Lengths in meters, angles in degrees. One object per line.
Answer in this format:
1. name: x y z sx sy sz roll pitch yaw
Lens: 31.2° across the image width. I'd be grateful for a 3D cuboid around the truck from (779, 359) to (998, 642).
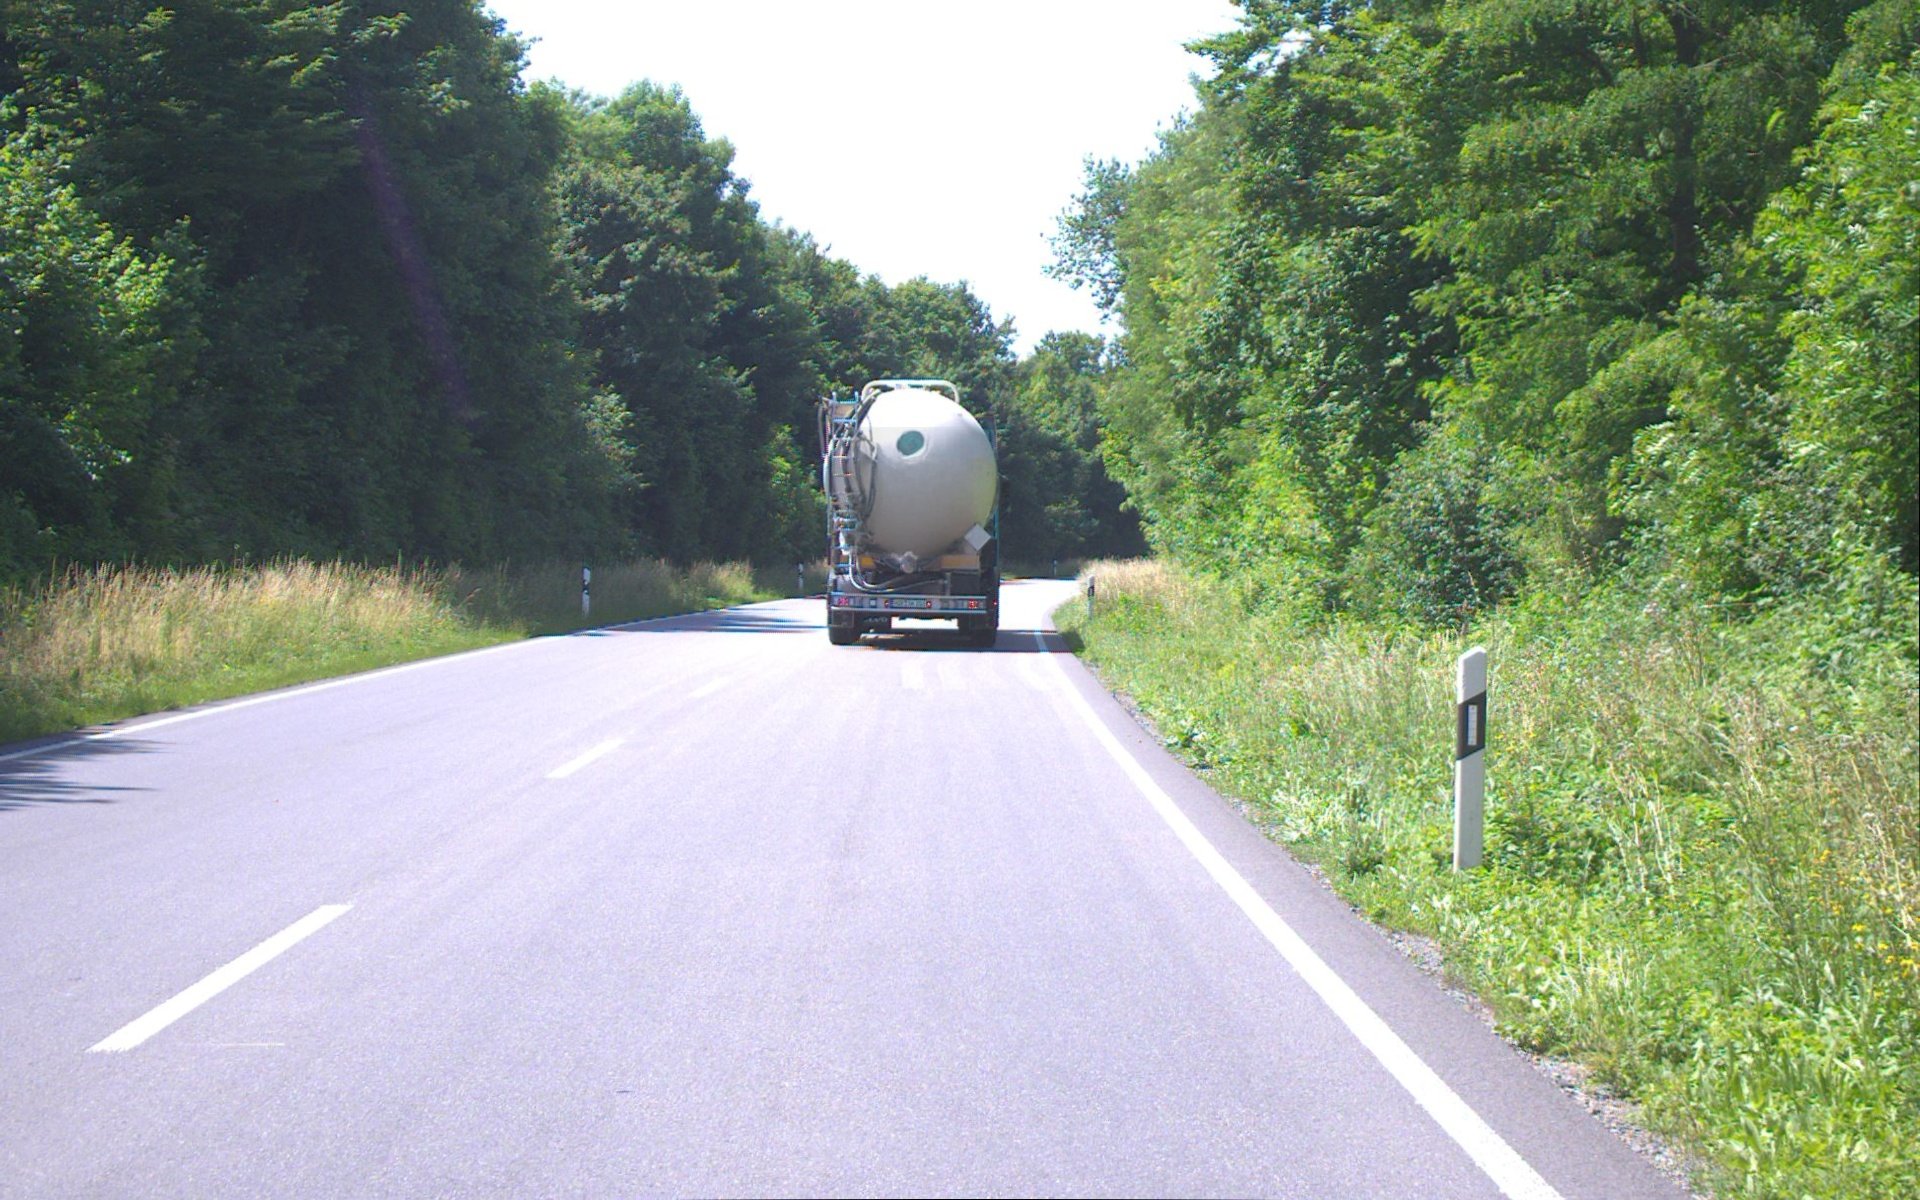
1. truck: -1.113 -1.557 57.001 3.049 3.984 15.637 1 1 -1
